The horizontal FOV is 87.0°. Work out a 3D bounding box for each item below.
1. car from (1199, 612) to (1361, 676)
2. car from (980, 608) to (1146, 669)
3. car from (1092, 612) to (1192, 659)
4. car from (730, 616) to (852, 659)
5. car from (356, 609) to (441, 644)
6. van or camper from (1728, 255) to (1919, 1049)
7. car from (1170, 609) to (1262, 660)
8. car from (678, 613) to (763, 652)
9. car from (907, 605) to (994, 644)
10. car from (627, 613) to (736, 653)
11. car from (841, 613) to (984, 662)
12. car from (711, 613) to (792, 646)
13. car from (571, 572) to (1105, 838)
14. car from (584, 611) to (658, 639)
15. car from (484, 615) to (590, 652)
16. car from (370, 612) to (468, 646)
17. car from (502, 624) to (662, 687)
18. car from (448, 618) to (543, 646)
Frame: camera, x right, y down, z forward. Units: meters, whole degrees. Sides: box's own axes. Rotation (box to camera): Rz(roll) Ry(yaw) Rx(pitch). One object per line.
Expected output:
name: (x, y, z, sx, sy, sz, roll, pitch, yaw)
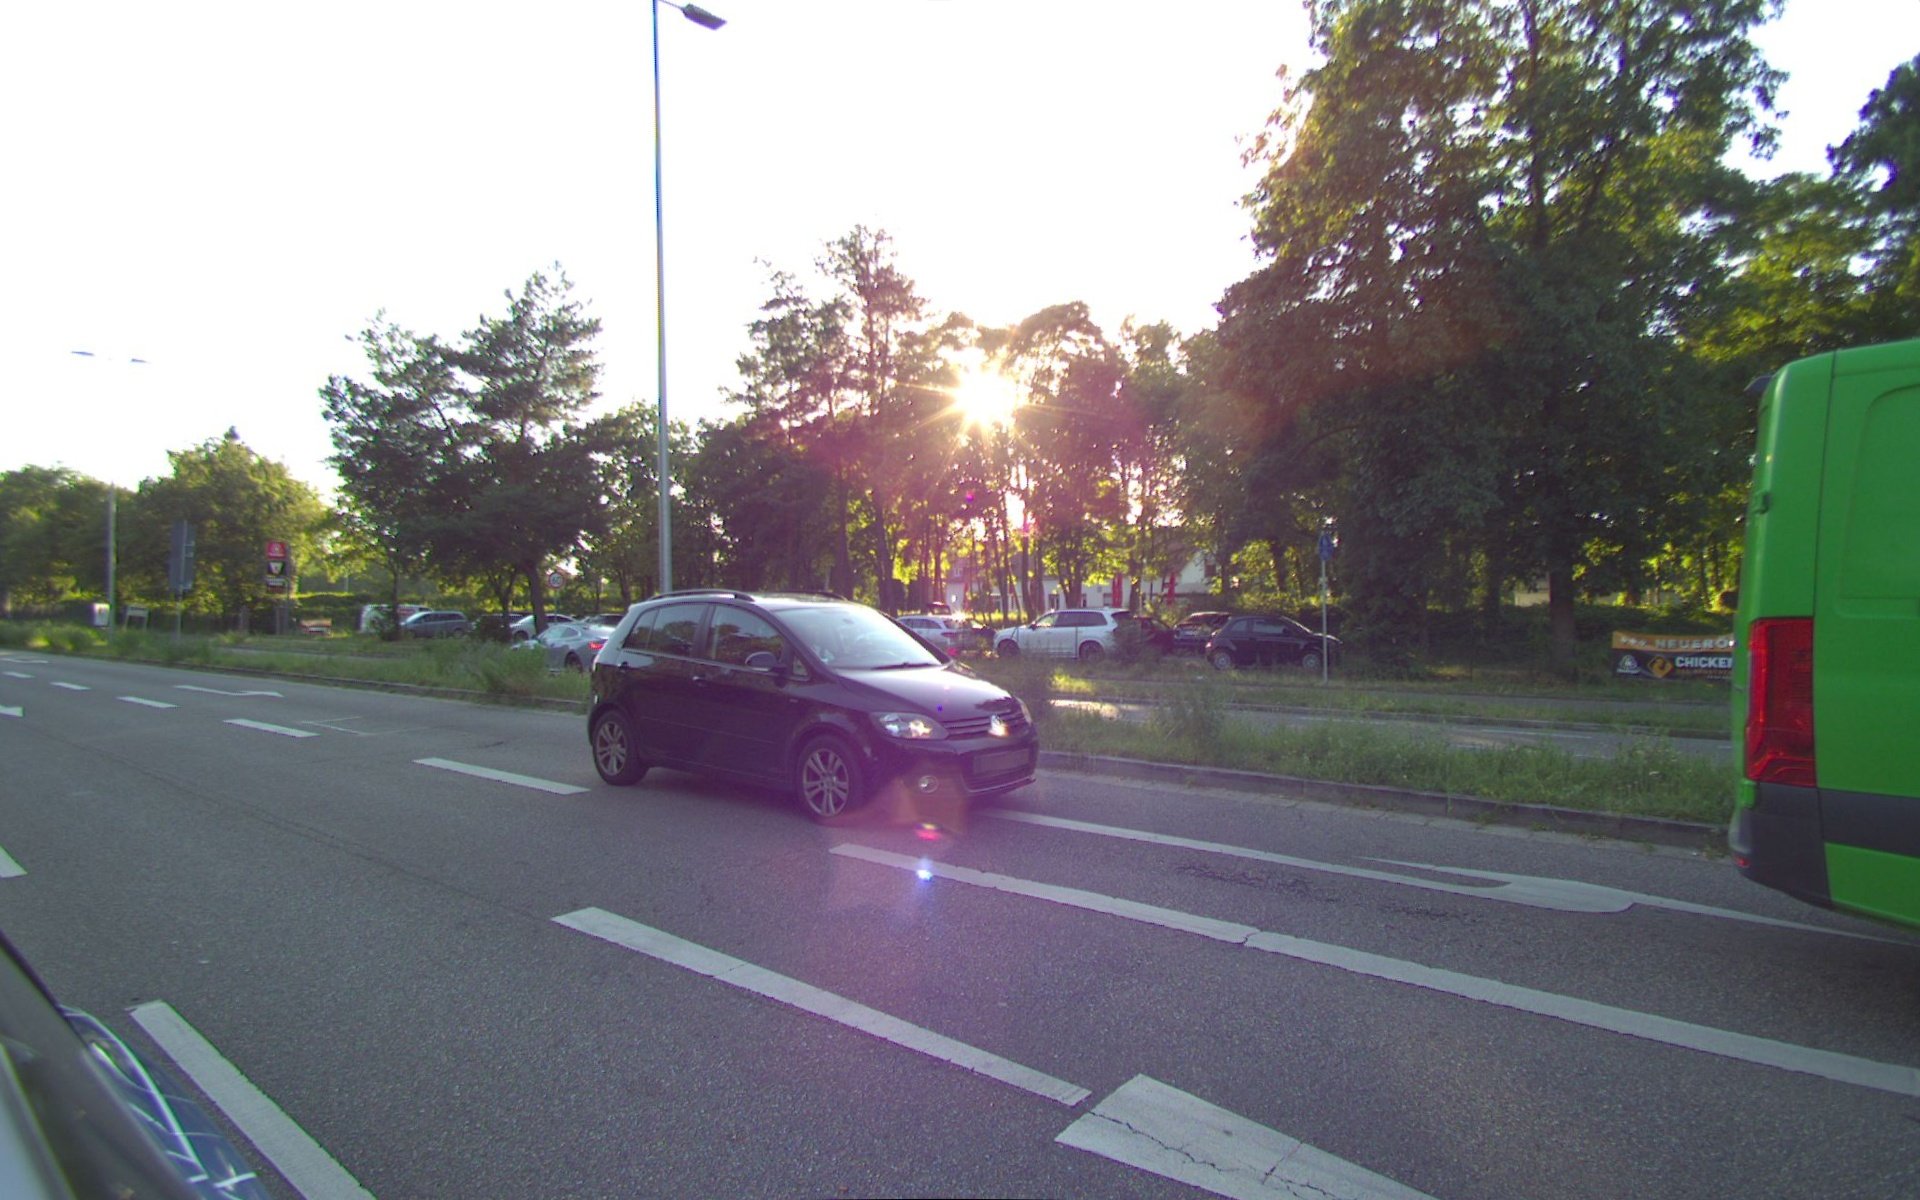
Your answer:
car: (8.585, 1.146, 27.254, 3.807, 1.609, 1.838, -1, -2, 36)
car: (3.187, 1.176, 31.810, 4.913, 1.800, 1.975, -1, -2, 37)
car: (6.837, 1.311, 37.850, 1.918, 1.663, 3.944, -1, -2, 42)
car: (-6.591, 1.415, 39.300, 4.701, 1.560, 1.975, -1, -2, 37)
car: (-32.514, 1.518, 58.688, 1.764, 1.959, 3.949, -1, -2, 38)
van or camper: (5.480, 0.134, 2.269, 5.891, 2.439, 1.973, -1, -2, 40)
car: (9.014, 1.173, 35.447, 1.914, 1.663, 3.954, -1, -1, 34)
car: (-9.864, 1.311, 41.790, 1.657, 1.538, 3.060, -1, -2, 38)
car: (-0.371, 1.103, 45.117, 1.765, 1.663, 3.947, -1, -2, 39)
car: (-12.057, 1.420, 44.051, 1.769, 1.629, 4.470, -1, -2, 37)
car: (-1.732, 1.286, 35.596, 4.913, 1.619, 1.975, -1, -2, 37)
car: (-10.887, 1.522, 52.954, 1.765, 1.663, 3.947, -1, -2, 40)
car: (-1.085, 0.661, 7.997, 3.995, 1.564, 1.974, -1, -2, 38)
car: (-20.481, 1.507, 61.245, 1.765, 1.663, 3.947, -1, -2, 40)
car: (-20.788, 1.623, 49.851, 1.908, 1.767, 4.441, -1, -2, 39)
car: (-30.226, 1.607, 56.685, 1.907, 1.811, 4.443, -1, -2, 38)
car: (-9.642, 1.342, 25.666, 4.497, 1.452, 1.872, -1, -2, 40)
car: (-23.141, 1.581, 50.533, 1.731, 1.322, 3.947, -1, -2, 39)
